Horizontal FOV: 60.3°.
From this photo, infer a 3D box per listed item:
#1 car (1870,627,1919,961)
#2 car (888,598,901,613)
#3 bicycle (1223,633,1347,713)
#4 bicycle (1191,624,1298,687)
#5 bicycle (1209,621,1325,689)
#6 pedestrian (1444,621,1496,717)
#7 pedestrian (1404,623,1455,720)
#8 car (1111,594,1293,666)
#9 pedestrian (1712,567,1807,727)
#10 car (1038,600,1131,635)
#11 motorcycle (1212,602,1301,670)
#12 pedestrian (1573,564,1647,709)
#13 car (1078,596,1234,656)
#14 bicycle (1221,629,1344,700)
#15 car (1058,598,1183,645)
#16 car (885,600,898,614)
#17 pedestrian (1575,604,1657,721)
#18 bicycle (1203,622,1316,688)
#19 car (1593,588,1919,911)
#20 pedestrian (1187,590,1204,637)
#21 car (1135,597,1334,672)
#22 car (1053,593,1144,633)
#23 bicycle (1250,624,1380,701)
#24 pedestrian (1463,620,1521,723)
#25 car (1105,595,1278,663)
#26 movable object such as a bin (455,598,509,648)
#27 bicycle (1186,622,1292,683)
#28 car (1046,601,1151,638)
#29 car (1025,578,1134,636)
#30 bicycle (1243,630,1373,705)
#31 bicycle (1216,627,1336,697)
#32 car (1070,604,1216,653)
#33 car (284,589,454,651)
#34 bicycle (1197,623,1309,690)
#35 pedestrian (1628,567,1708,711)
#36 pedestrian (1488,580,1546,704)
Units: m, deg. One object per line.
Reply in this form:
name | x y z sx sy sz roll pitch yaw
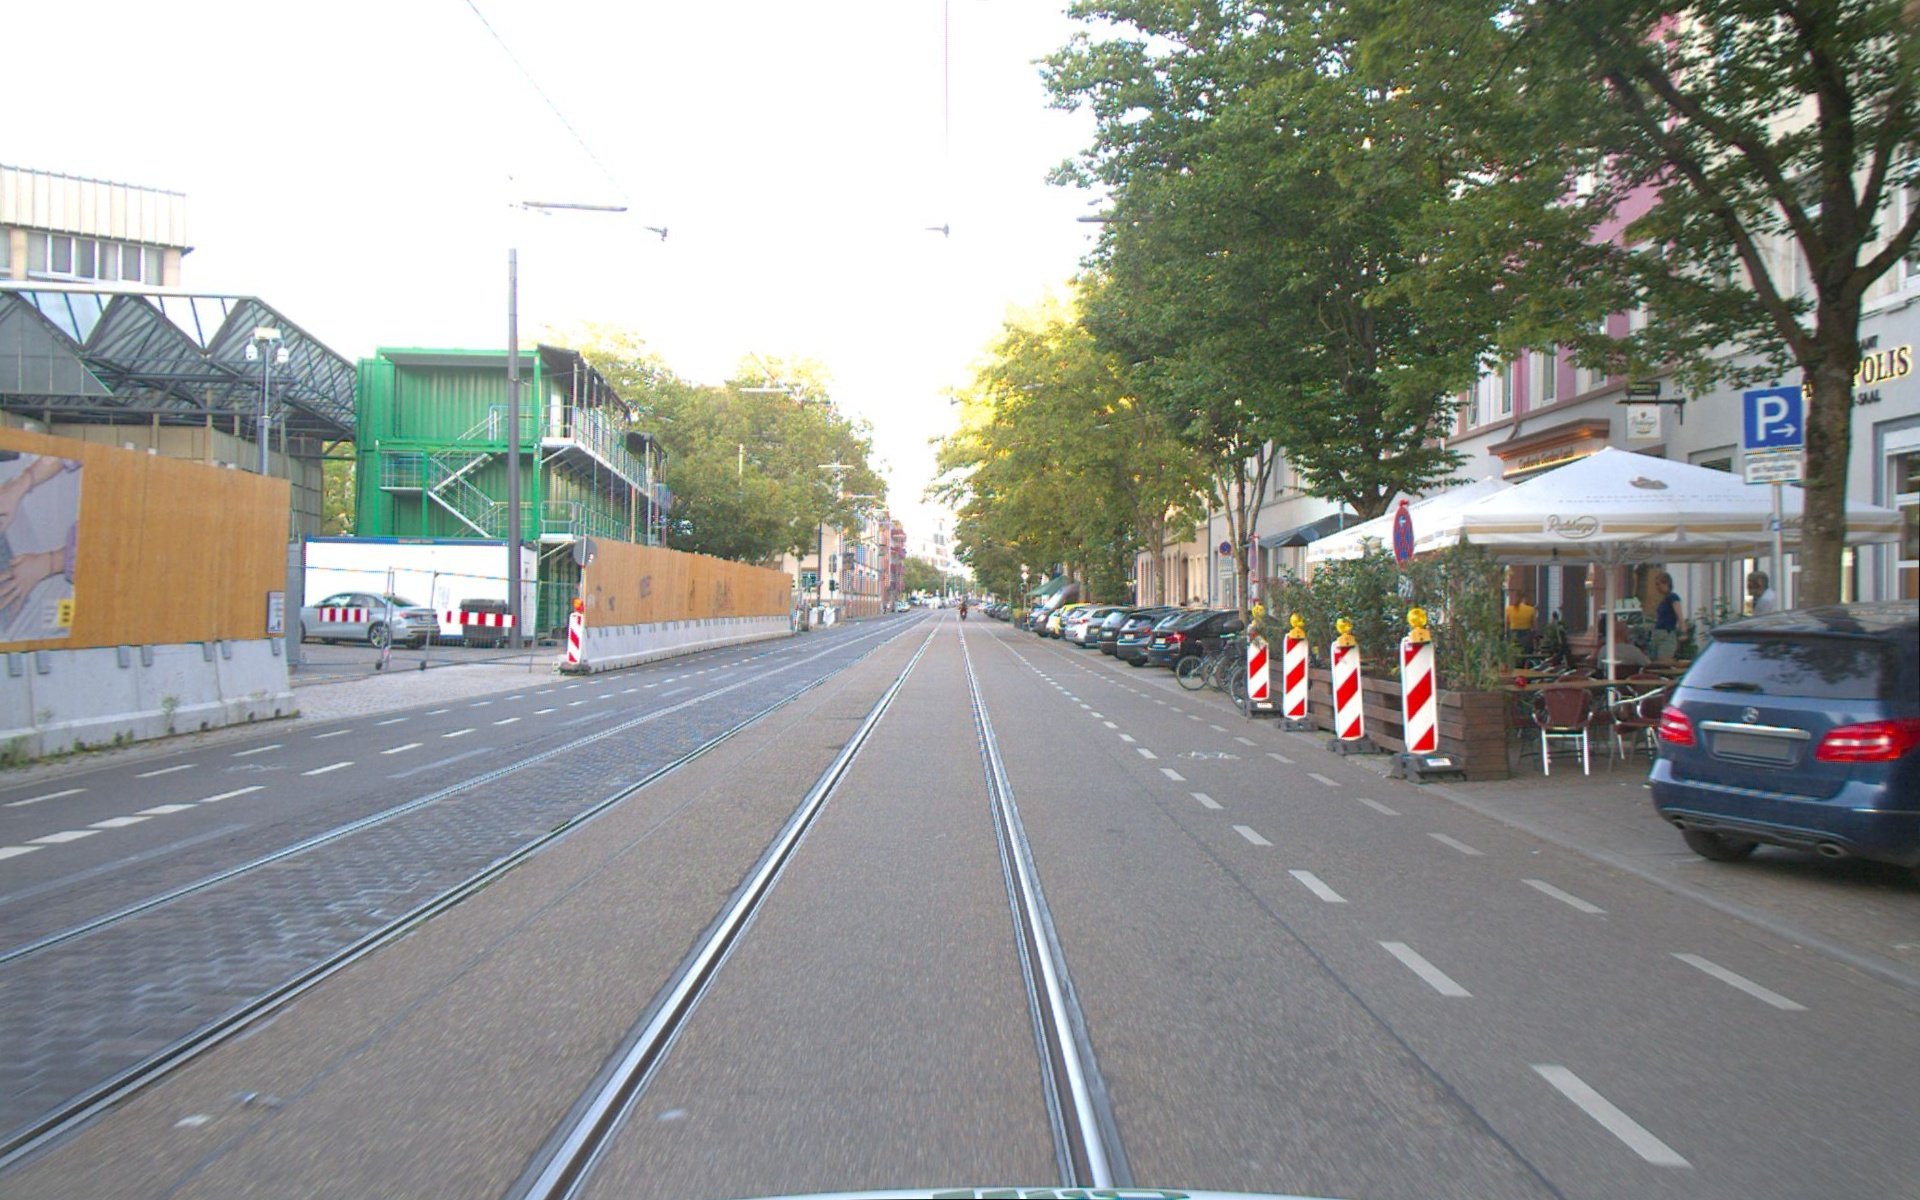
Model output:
car | 6.083 0.785 7.389 3.726 1.432 1.692 -2 0 -26
car | -10.121 0.900 254.880 1.859 2.216 4.000 1 0 0
bicycle | 4.728 1.059 24.128 1.645 1.049 0.556 -3 0 -2
bicycle | 5.262 1.017 30.648 1.826 1.049 0.591 -3 0 -3
bicycle | 5.295 0.939 28.580 1.849 1.049 0.608 -3 0 -2
pedestrian | 7.128 0.953 23.119 0.492 1.315 0.599 1 0 -5
pedestrian | 6.549 0.987 23.094 0.492 1.315 0.599 1 0 -5
car | 5.890 0.711 40.385 3.886 1.496 1.992 -3 0 -17
pedestrian | 9.174 0.525 18.997 0.694 1.794 0.708 1 0 -28
car | 5.862 0.821 77.912 3.899 1.512 1.906 -1 -1 -24
motorcycle | 6.280 0.763 35.015 1.750 1.367 0.533 -2 0 -2
pedestrian | 8.249 0.456 21.006 0.542 1.794 0.712 1 0 -17
car | 5.709 0.737 48.142 4.064 1.496 2.000 -3 0 -25
bicycle | 5.276 1.052 27.127 1.849 1.049 0.608 -3 0 -2
car | 5.857 0.769 60.663 4.174 1.576 2.014 -1 0 -11
car | -10.367 1.002 250.233 1.859 2.049 4.000 1 0 0
pedestrian | 7.653 0.715 19.298 0.544 1.329 0.709 1 0 -27
bicycle | 5.284 0.965 29.247 1.849 1.049 0.608 -3 0 -2
car | 5.899 0.727 9.930 3.912 1.580 1.692 -2 0 -26
pedestrian | 9.159 0.526 64.356 0.554 1.846 0.606 0 0 -2
car | 6.269 0.754 37.779 4.100 1.451 1.813 -3 0 -20
car | 6.186 0.589 74.221 3.869 1.648 1.921 -2 -1 0
bicycle | 5.359 0.940 25.017 1.779 1.049 0.608 -3 0 -2
pedestrian | 6.947 0.926 21.599 0.585 1.315 0.504 1 0 1
car | 6.028 0.736 43.053 4.053 1.496 1.814 -3 0 -19
movable object such as a bin | -13.360 0.643 46.247 1.280 1.393 0.783 0 0 -4
bicycle | 5.265 0.987 31.253 1.865 1.049 0.533 -3 0 -2
car | 5.922 0.823 70.792 4.070 1.450 1.905 -1 -1 -26
car | 5.950 0.353 82.760 5.014 2.689 2.012 -2 -1 -17
bicycle | 5.416 1.041 25.762 1.849 1.049 0.608 -3 0 -2
bicycle | 5.307 1.033 27.849 1.849 1.049 0.608 -3 0 -2
car | 5.811 0.878 52.500 4.194 1.416 2.001 -1 0 -24
car | -15.761 0.519 44.153 3.910 1.427 1.737 3 0 14
bicycle | 5.295 1.022 29.961 1.849 1.086 0.674 -3 0 -2
pedestrian | 9.021 0.487 21.093 0.541 1.794 0.850 1 0 -12
pedestrian | 8.242 0.609 24.511 0.539 1.794 0.894 1 0 -1
